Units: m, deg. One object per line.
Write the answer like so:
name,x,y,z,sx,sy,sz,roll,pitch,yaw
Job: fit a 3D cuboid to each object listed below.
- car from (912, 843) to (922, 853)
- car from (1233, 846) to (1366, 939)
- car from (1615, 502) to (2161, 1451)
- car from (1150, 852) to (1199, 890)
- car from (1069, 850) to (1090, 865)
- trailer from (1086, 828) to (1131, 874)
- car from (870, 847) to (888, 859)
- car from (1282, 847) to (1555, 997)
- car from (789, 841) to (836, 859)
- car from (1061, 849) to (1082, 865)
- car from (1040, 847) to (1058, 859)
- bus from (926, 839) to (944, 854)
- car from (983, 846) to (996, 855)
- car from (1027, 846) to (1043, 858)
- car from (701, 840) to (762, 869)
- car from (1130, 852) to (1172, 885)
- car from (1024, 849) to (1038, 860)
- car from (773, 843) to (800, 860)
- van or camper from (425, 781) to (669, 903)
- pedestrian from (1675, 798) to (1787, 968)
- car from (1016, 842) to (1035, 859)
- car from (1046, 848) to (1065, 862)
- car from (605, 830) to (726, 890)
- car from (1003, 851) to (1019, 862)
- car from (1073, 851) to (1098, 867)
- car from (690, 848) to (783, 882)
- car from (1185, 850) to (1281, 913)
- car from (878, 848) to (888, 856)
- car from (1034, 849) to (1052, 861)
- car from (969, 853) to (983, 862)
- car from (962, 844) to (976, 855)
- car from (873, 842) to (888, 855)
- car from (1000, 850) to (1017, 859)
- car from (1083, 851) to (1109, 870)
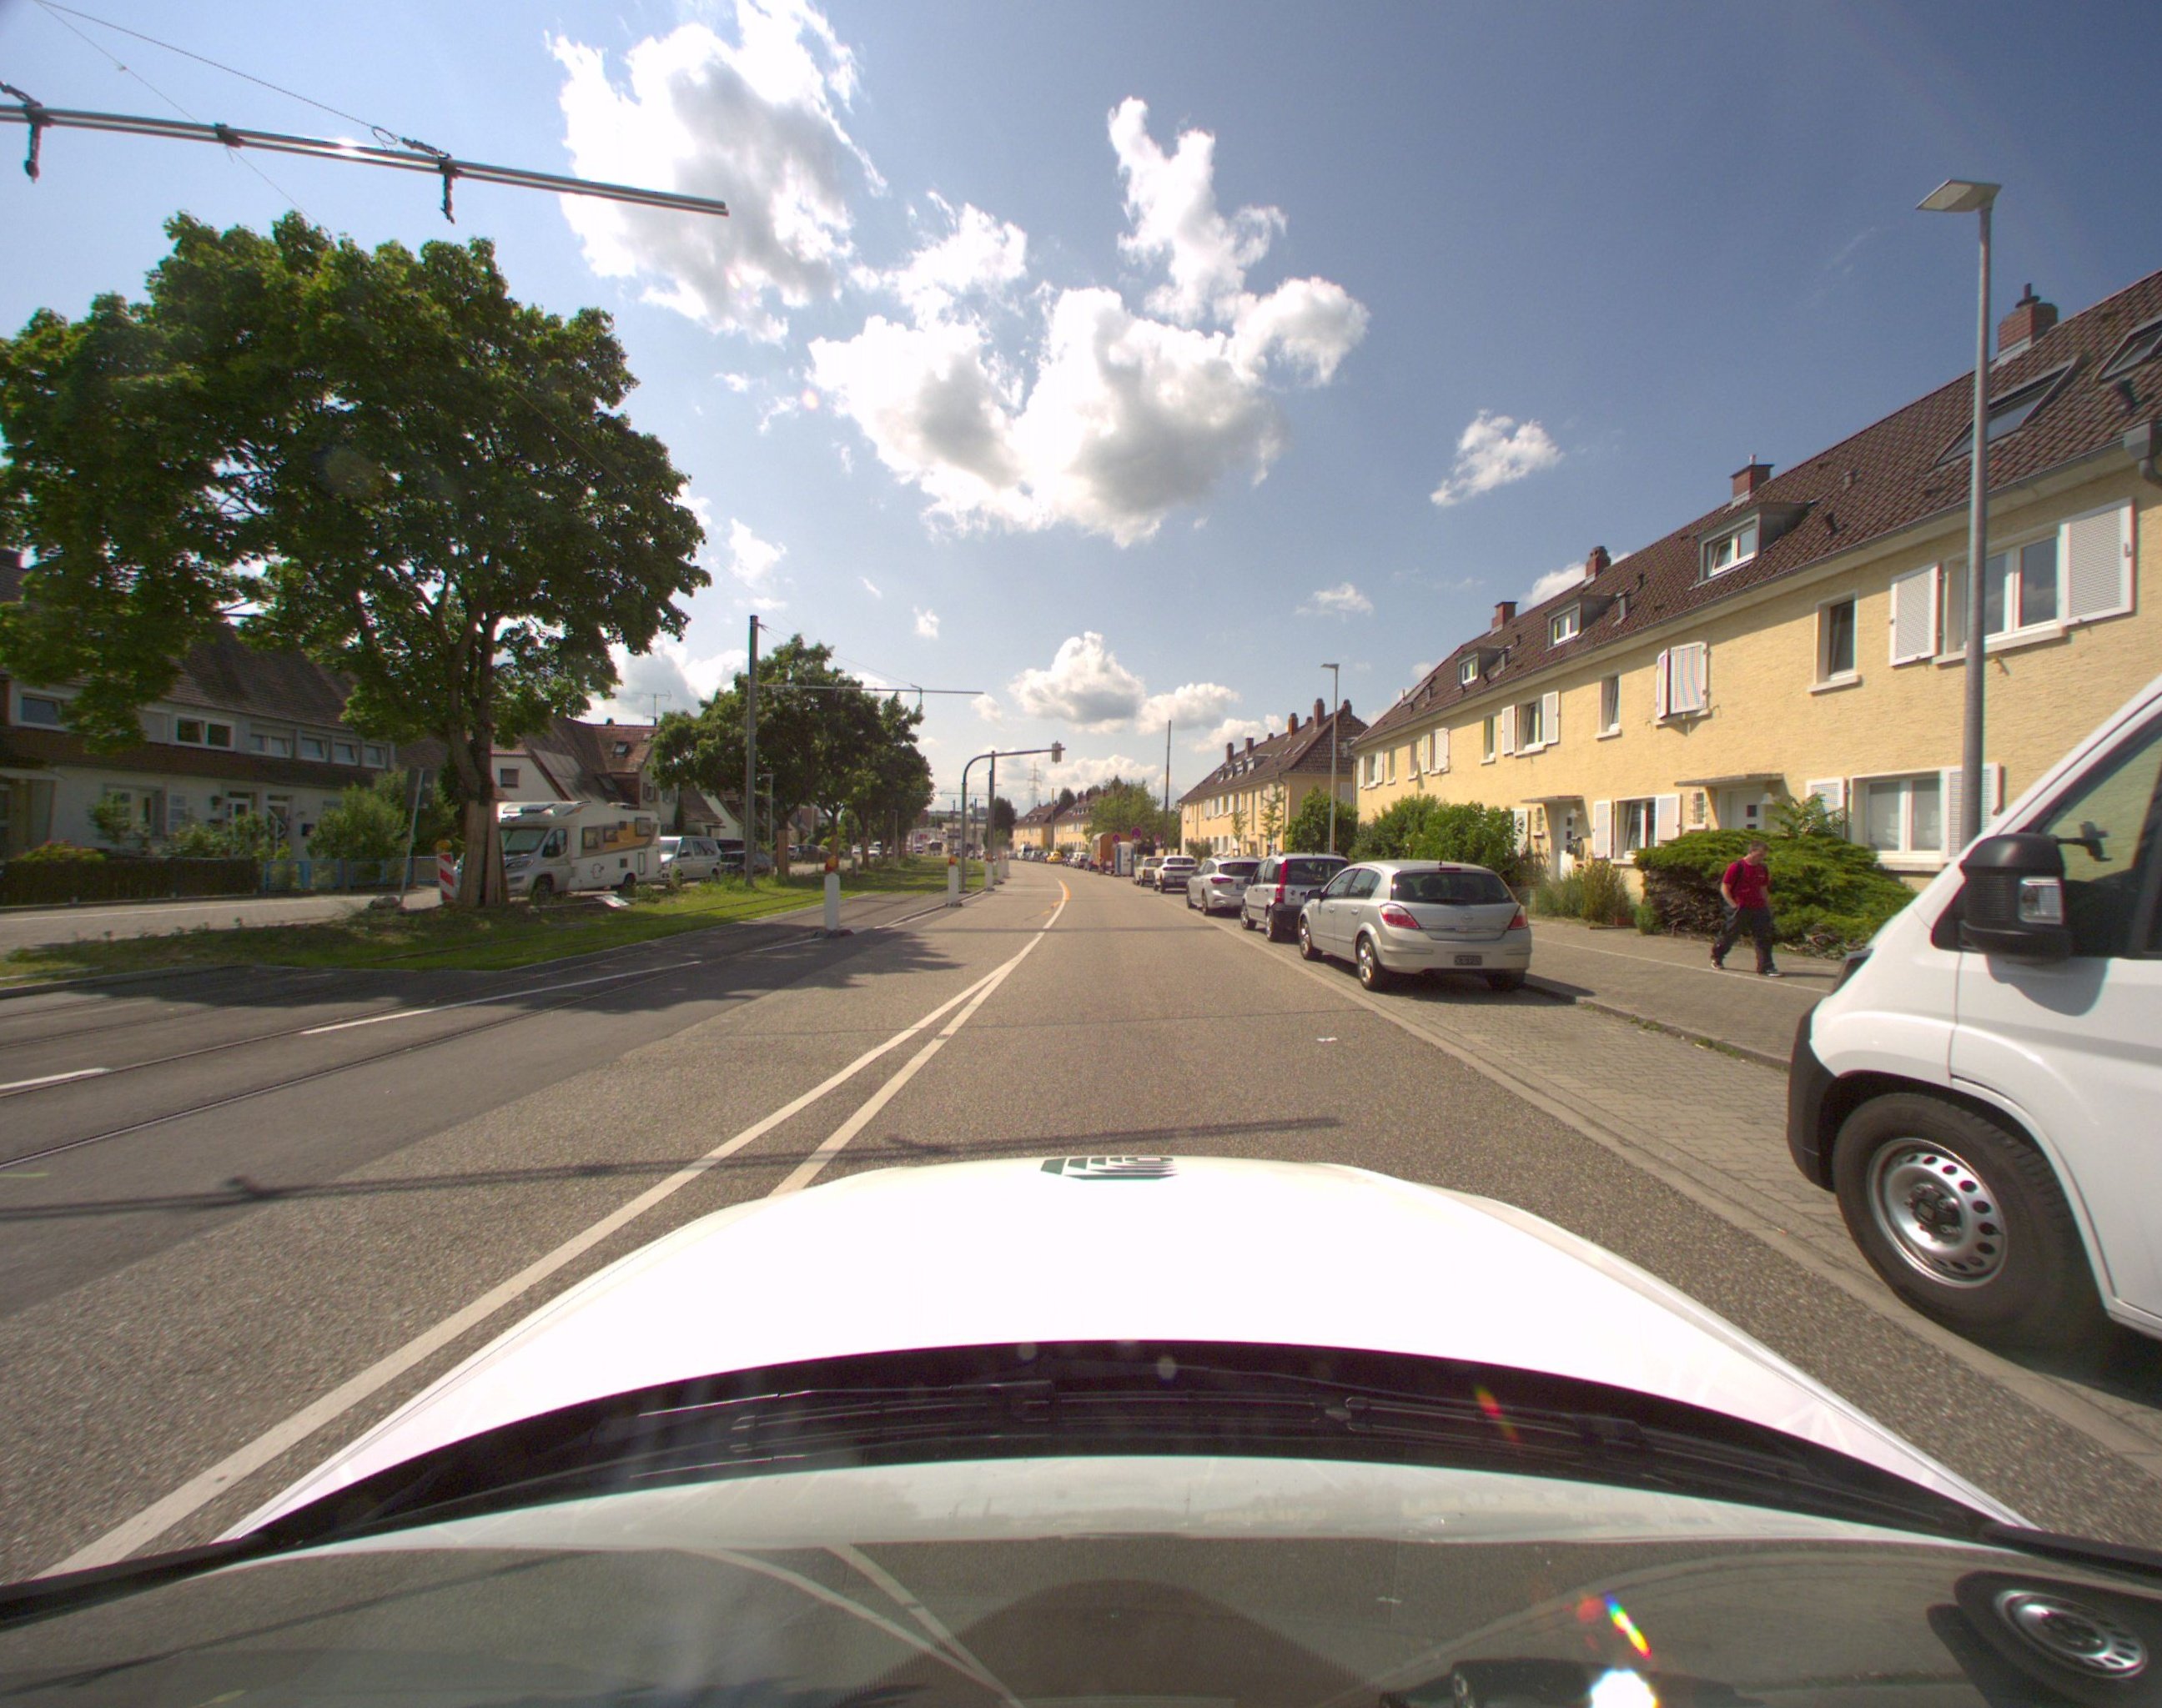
car,-42.814,-1.509,212.648,2.108,2.443,5.538,1,0,-18
car,4.007,0.641,15.542,1.622,1.550,3.811,0,0,1
car,3.551,0.291,0.767,2.267,2.182,6.374,0,0,4
car,3.736,0.643,33.111,1.523,1.481,3.808,0,0,-1
car,-0.177,0.346,82.452,1.576,1.513,4.448,1,0,-7
trailer,2.005,-0.232,61.255,2.687,3.226,5.071,1,0,-6
car,-30.555,-0.128,123.247,1.879,1.768,5.071,1,0,-7
car,3.932,0.679,10.341,1.702,1.504,4.254,0,0,0
car,-28.813,-0.388,87.544,4.474,1.836,2.056,1,0,-13
car,-1.047,0.286,87.505,1.549,1.641,4.231,1,0,-10
car,-4.118,-0.192,104.833,1.638,1.482,4.106,1,0,-13
bus,-33.541,-1.712,186.990,2.642,3.412,12.180,-1,1,-16
car,-17.364,-0.632,154.869,1.768,1.643,3.977,-1,1,-17
car,-6.470,-0.263,114.109,1.638,1.602,4.012,1,0,-13
car,-25.250,0.014,58.856,3.903,1.897,1.927,3,-1,-26
car,3.343,0.668,39.509,1.460,1.502,4.104,0,0,-3
car,-7.317,0.092,118.769,1.537,1.445,3.721,1,0,-13
car,-27.645,-0.236,76.536,1.729,1.517,4.029,1,0,-11
van or camper,-14.944,-0.304,23.639,2.369,2.970,7.292,1,0,-2
pedestrian,8.060,0.346,10.134,0.770,2.013,0.762,1,0,1
car,-8.457,-0.508,123.988,1.932,2.480,5.491,0,0,-14
car,-3.149,0.117,99.871,1.637,1.482,3.917,-2,1,-11
car,-15.278,0.187,30.311,1.988,2.013,4.901,1,0,-1
car,-9.236,0.292,106.914,1.666,1.449,3.945,-2,1,-10
car,0.369,0.417,77.395,1.705,1.449,4.823,1,0,-7
car,-15.189,0.439,36.188,1.844,1.387,4.812,1,0,3
car,3.842,0.643,21.305,1.744,1.497,4.385,0,0,0
car,-39.712,-0.411,163.306,1.732,1.505,4.542,-1,1,-16
car,-5.189,0.115,110.247,1.639,1.602,3.912,1,0,-15
car,-17.334,0.535,134.293,1.726,1.389,4.103,1,0,-14
car,-24.301,-0.981,176.053,1.965,2.478,6.022,-1,1,-18
car,-42.096,-1.214,170.949,2.082,2.721,6.952,-1,1,-21
car,-12.211,0.091,136.298,1.804,1.458,4.736,-1,0,-18
car,1.257,0.533,69.576,1.576,1.449,4.442,1,0,-7
